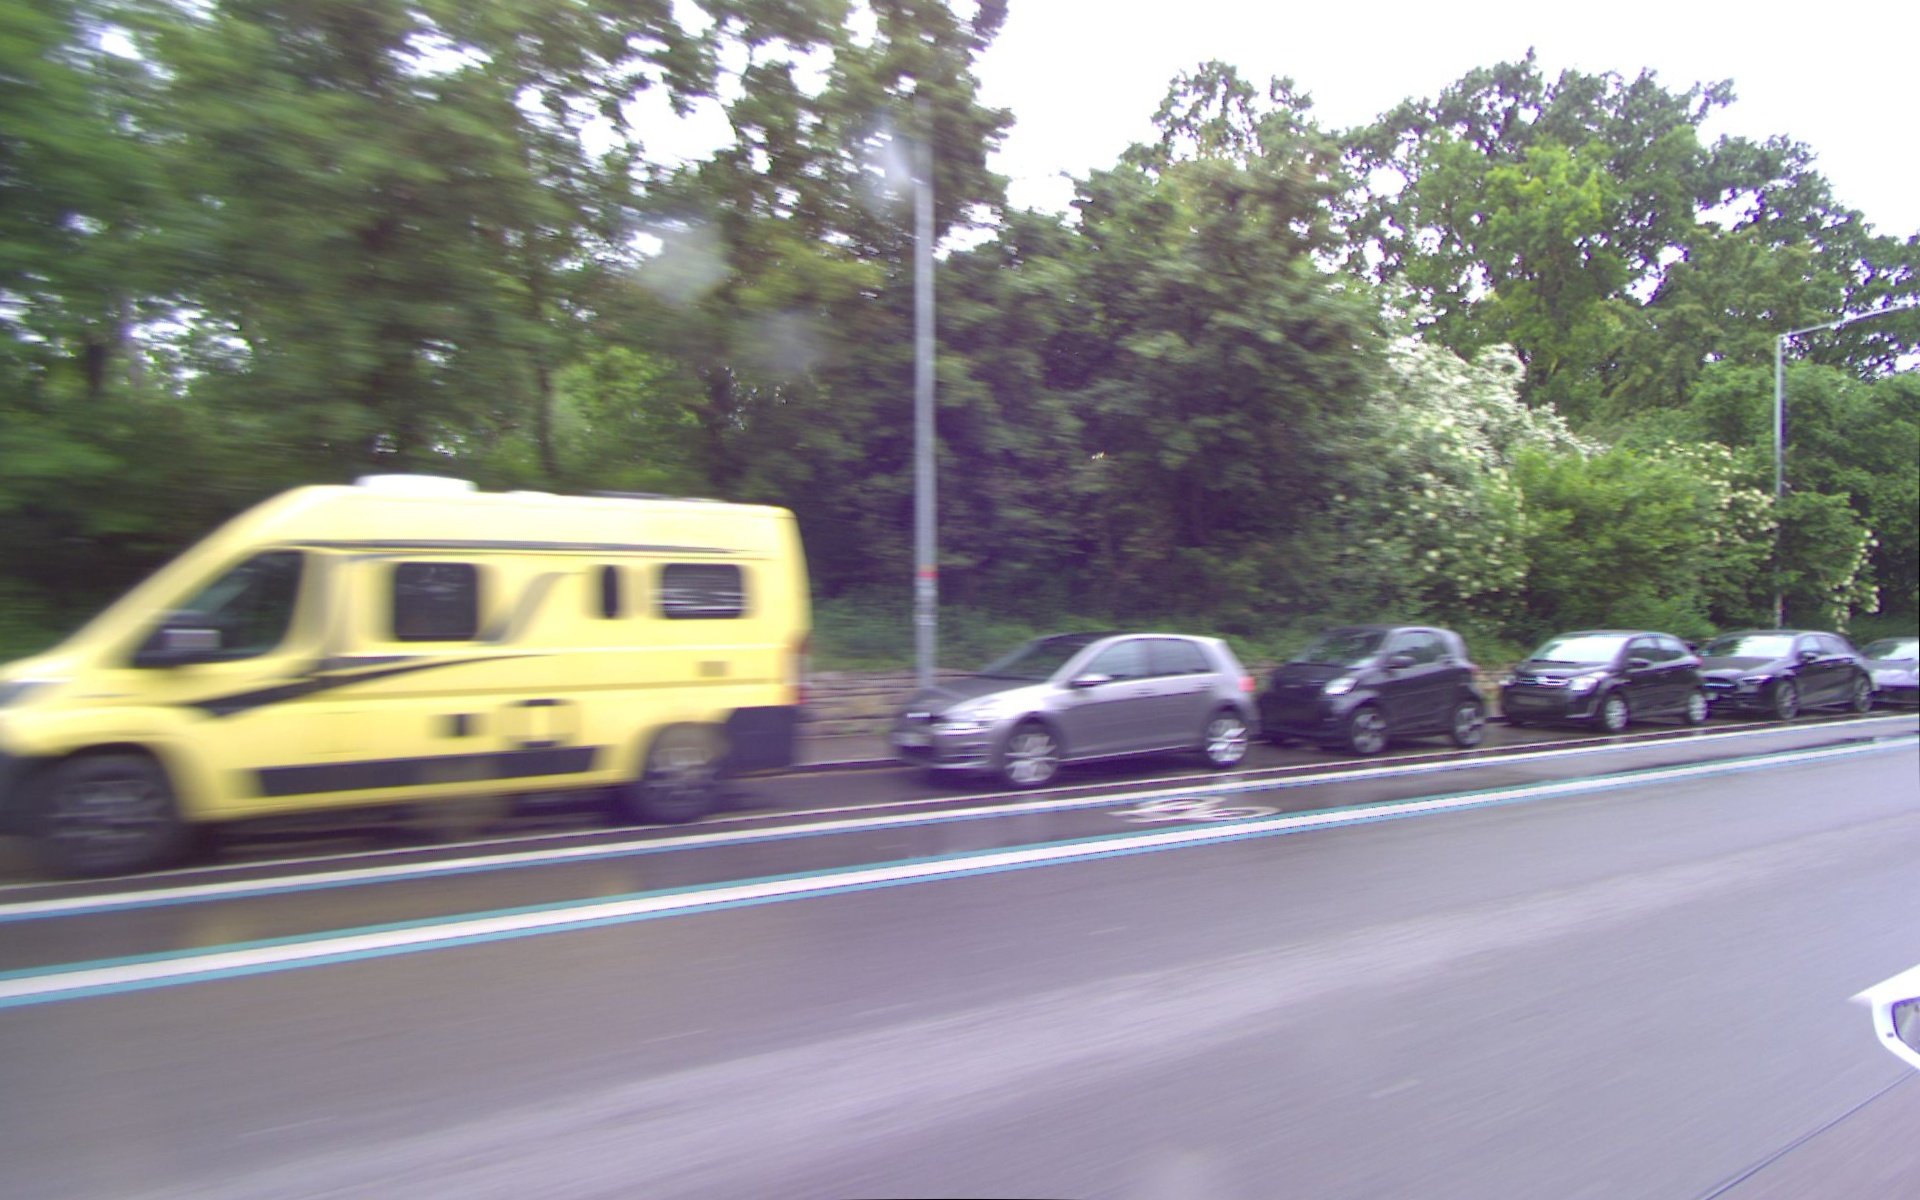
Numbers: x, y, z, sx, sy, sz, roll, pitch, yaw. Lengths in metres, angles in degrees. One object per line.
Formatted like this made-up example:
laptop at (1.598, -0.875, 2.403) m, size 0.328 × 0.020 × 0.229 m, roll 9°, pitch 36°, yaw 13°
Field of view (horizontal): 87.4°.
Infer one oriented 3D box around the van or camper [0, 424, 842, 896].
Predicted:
van or camper at (-3.918, 0.388, 7.715) m, size 5.612 × 2.662 × 2.135 m, roll 1°, pitch -1°, yaw -29°

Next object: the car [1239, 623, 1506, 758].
car at (5.323, 1.070, 12.949) m, size 3.099 × 1.530 × 1.596 m, roll 1°, pitch -1°, yaw -28°

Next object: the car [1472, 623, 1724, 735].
car at (9.914, 1.134, 15.561) m, size 3.927 × 1.530 × 1.596 m, roll 1°, pitch -1°, yaw -28°

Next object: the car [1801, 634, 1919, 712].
car at (18.433, 1.348, 19.481) m, size 4.417 × 1.321 × 1.861 m, roll 1°, pitch -1°, yaw -30°

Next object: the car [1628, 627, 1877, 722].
car at (13.976, 1.222, 17.696) m, size 4.086 × 1.471 × 1.986 m, roll 1°, pitch -1°, yaw -28°

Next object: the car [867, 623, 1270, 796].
car at (1.218, 1.022, 10.636) m, size 4.102 × 1.518 × 1.671 m, roll 1°, pitch -2°, yaw -32°
